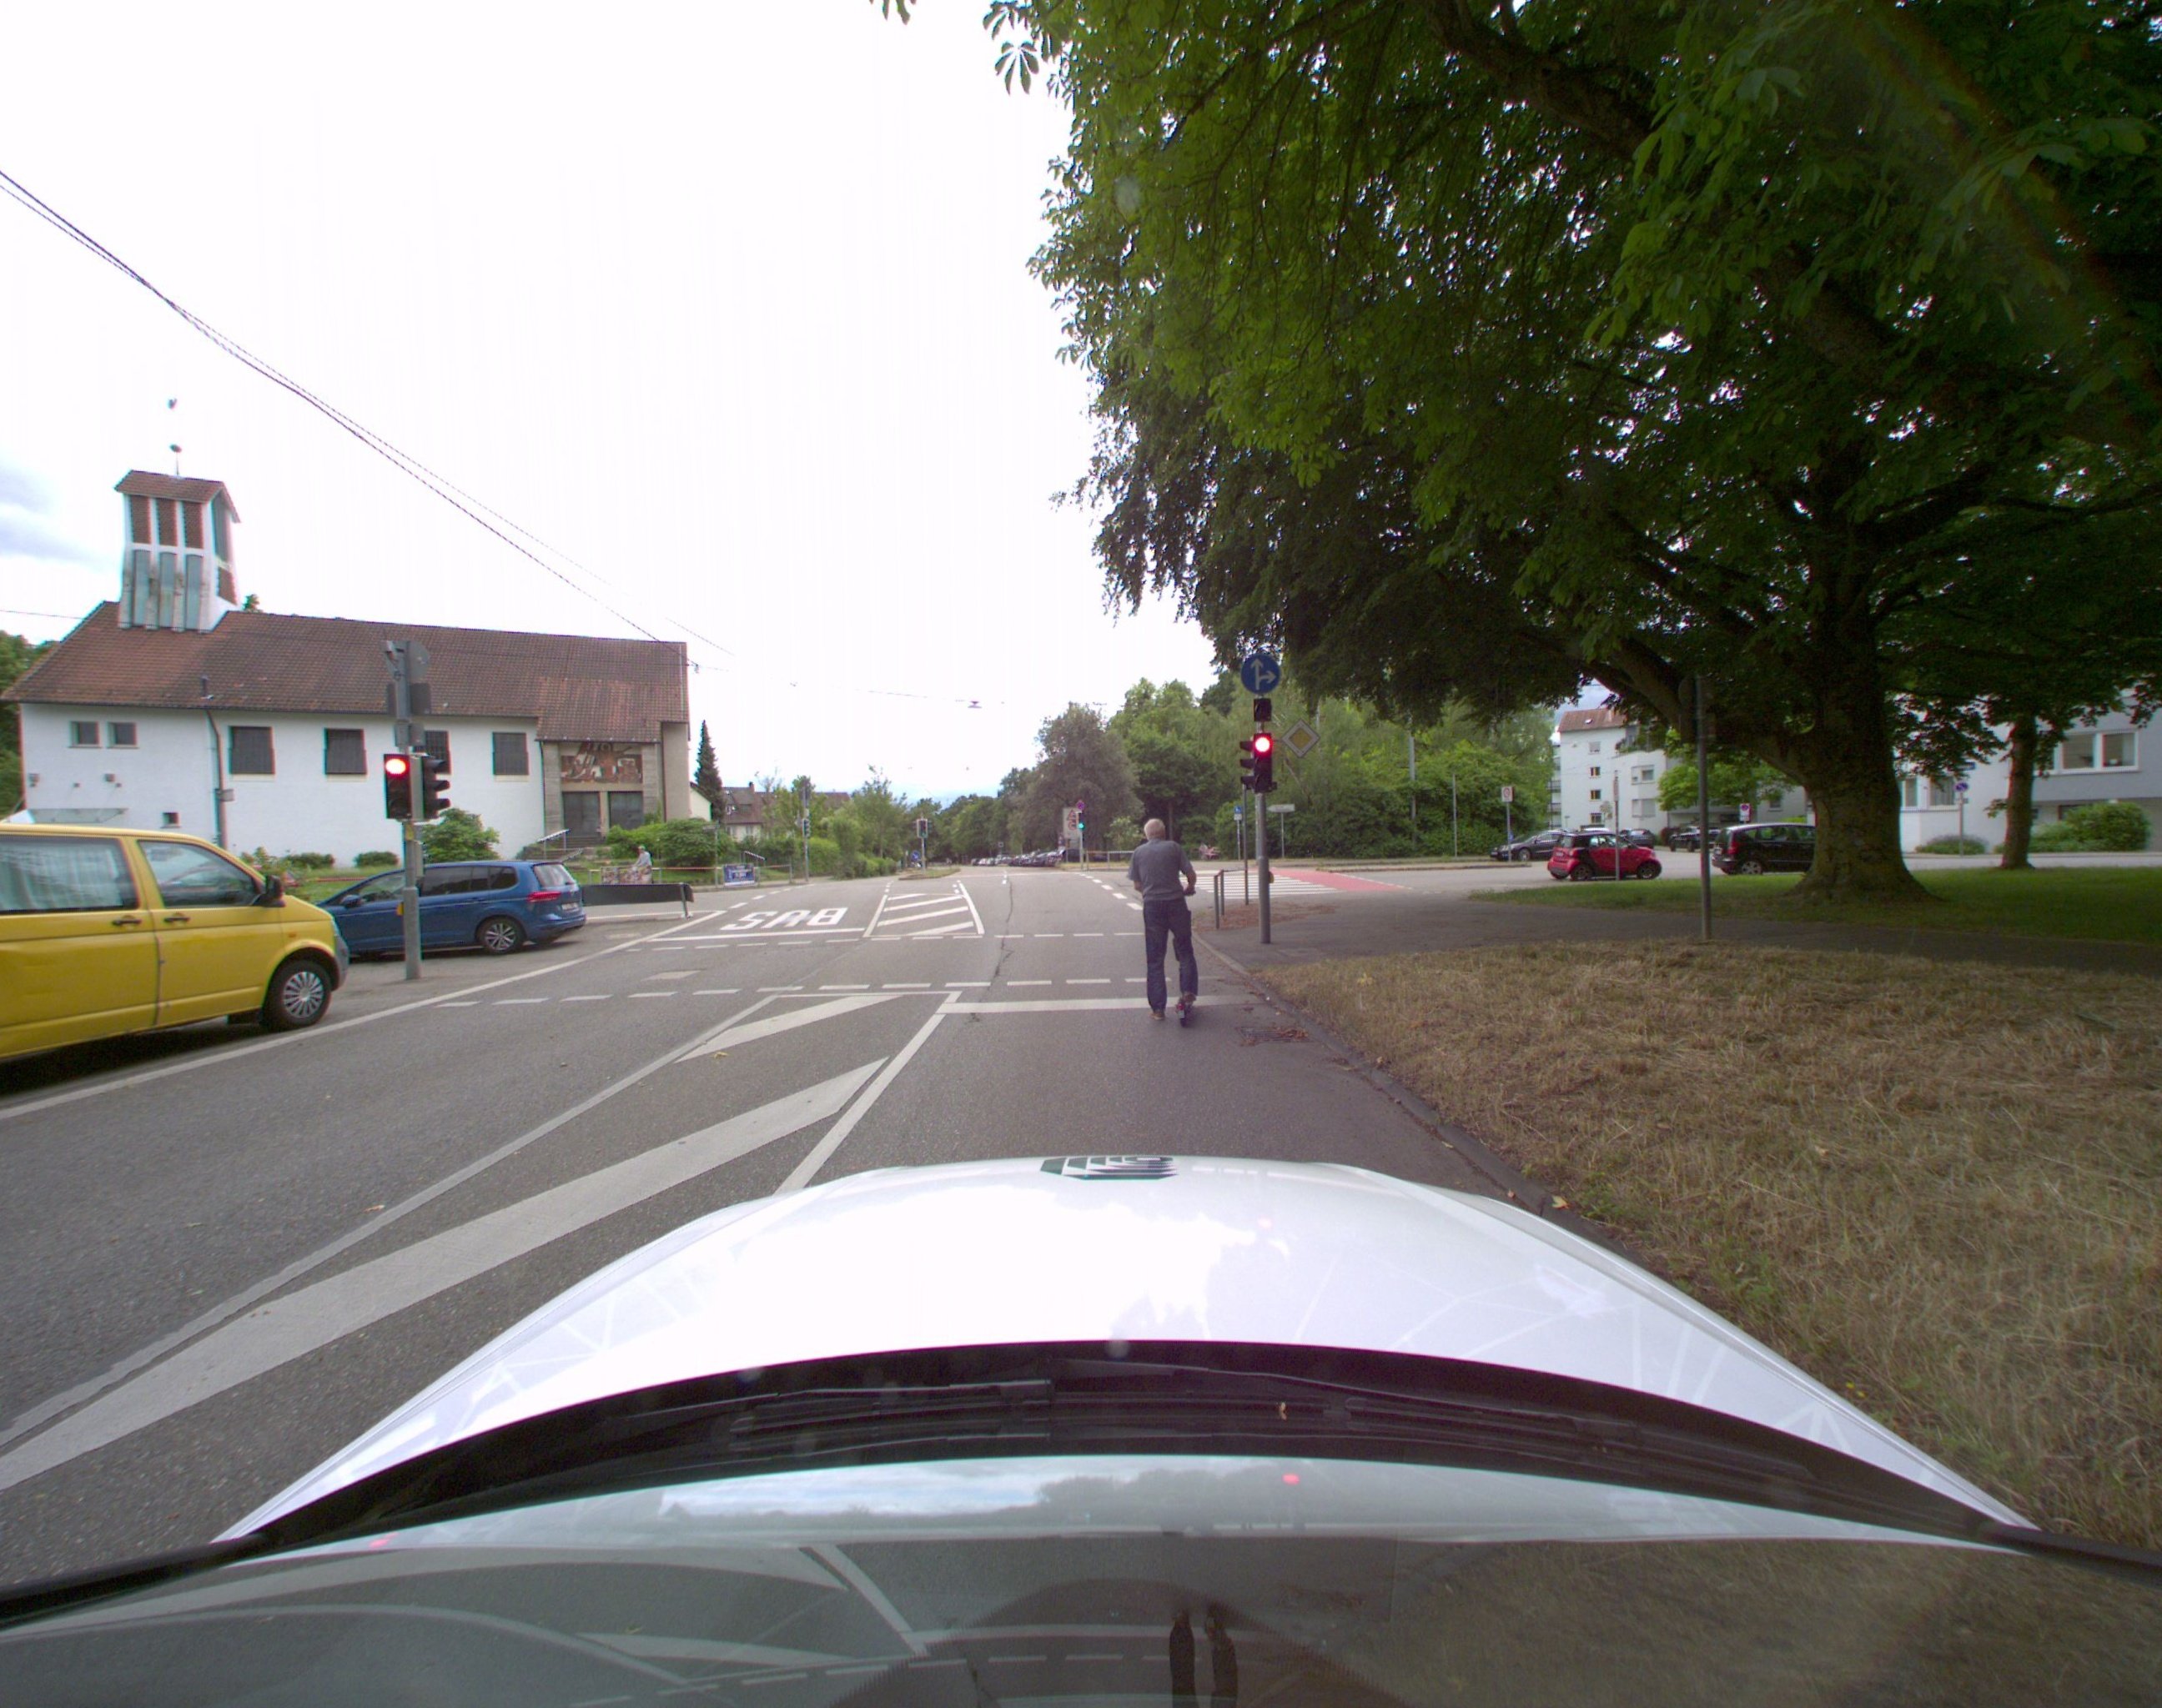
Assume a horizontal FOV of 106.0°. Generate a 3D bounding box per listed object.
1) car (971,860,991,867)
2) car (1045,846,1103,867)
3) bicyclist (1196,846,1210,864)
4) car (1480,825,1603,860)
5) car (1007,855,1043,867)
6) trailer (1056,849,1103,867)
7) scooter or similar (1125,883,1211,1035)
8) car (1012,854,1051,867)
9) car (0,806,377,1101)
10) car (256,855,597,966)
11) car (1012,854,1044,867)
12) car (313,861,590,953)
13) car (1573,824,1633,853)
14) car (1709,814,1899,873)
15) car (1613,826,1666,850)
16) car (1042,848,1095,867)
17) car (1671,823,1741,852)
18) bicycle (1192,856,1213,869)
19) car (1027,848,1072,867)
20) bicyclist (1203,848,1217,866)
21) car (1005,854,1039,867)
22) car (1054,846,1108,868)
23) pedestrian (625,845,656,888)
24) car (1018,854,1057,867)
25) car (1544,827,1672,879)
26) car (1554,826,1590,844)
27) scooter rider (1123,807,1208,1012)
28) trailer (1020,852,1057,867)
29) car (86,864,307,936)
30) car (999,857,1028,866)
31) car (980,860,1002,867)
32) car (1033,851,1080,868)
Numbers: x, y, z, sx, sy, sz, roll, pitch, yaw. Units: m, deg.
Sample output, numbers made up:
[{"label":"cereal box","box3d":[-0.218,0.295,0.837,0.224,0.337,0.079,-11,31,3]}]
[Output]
[{"label":"car","box3d":[-21.738,2.041,177.284,3.908,1.429,1.727,-1,-1,-30]},{"label":"car","box3d":[-0.515,0.223,62.465,4.150,1.476,1.565,-1,-1,-20]},{"label":"bicyclist","box3d":[8.286,0.077,55.386,0.633,1.161,0.809,2,4,39]},{"label":"car","box3d":[21.790,-0.551,38.675,4.777,1.438,2.036,-2,1,-5]},{"label":"car","box3d":[-7.191,0.921,104.741,4.332,1.341,1.720,-1,-1,-24]},{"label":"trailer","box3d":[-0.113,0.331,65.436,3.412,1.267,1.606,-2,-1,-19]},{"label":"scooter or similar","box3d":[0.765,0.885,7.386,0.678,1.139,1.461,-1,1,4]},{"label":"car","box3d":[-6.055,0.784,99.418,4.364,1.445,1.621,-1,0,-24]},{"label":"car","box3d":[-8.341,0.703,6.259,1.913,1.989,4.791,-2,0,-5]},{"label":"car","box3d":[-11.137,0.895,14.215,4.169,1.546,1.838,-2,1,-13]},{"label":"car","box3d":[-6.669,0.829,102.234,3.628,1.445,1.620,-1,-1,-25]},{"label":"car","box3d":[-12.346,0.980,16.295,3.903,1.472,1.834,-2,1,-18]},{"label":"car","box3d":[28.534,-0.840,44.660,1.788,1.487,3.686,-1,0,16]},{"label":"car","box3d":[20.830,-0.283,23.690,3.778,1.591,1.829,-1,0,26]},{"label":"car","box3d":[38.985,-1.088,56.963,1.913,1.544,4.083,-1,0,18]},{"label":"car","box3d":[-1.073,0.311,70.222,4.231,1.464,1.625,-2,-1,-19]},{"label":"car","box3d":[35.840,-0.915,46.842,1.913,1.544,4.083,-1,0,18]},{"label":"bicycle","box3d":[8.276,0.552,55.408,0.633,0.758,1.692,2,4,39]},{"label":"car","box3d":[-3.077,0.356,79.534,3.998,1.725,1.670,-2,-1,-19]},{"label":"bicyclist","box3d":[9.006,0.219,56.945,0.513,1.187,0.974,-4,-2,36]},{"label":"car","box3d":[-7.827,0.851,107.509,4.099,1.515,1.716,-2,-1,-32]},{"label":"car","box3d":[0.019,0.202,59.943,3.718,1.476,1.570,-1,0,-12]},{"label":"pedestrian","box3d":[-17.298,0.486,31.967,0.680,1.653,0.836,-1,-1,29]},{"label":"car","box3d":[-4.770,0.698,89.311,4.049,1.327,1.549,-2,-1,-19]},{"label":"car","box3d":[16.249,-0.049,25.212,2.897,1.506,1.699,-1,2,6]},{"label":"car","box3d":[44.309,-1.675,73.599,1.913,1.544,4.083,-1,0,18]},{"label":"scooter rider","box3d":[0.757,0.458,7.496,0.678,1.730,1.198,-1,1,4]},{"label":"trailer","box3d":[-4.549,0.575,86.958,3.702,1.535,1.634,-1,-1,-21]},{"label":"car","box3d":[-22.673,1.098,21.068,1.753,1.489,3.707,-1,2,43]},{"label":"car","box3d":[-10.116,1.121,122.491,3.984,1.405,1.742,-1,-1,-25]},{"label":"car","box3d":[-17.667,1.804,159.427,3.913,1.309,1.725,-1,-1,-34]},{"label":"car","box3d":[-2.324,0.511,76.954,4.174,1.407,1.686,-1,-1,-21]}]
